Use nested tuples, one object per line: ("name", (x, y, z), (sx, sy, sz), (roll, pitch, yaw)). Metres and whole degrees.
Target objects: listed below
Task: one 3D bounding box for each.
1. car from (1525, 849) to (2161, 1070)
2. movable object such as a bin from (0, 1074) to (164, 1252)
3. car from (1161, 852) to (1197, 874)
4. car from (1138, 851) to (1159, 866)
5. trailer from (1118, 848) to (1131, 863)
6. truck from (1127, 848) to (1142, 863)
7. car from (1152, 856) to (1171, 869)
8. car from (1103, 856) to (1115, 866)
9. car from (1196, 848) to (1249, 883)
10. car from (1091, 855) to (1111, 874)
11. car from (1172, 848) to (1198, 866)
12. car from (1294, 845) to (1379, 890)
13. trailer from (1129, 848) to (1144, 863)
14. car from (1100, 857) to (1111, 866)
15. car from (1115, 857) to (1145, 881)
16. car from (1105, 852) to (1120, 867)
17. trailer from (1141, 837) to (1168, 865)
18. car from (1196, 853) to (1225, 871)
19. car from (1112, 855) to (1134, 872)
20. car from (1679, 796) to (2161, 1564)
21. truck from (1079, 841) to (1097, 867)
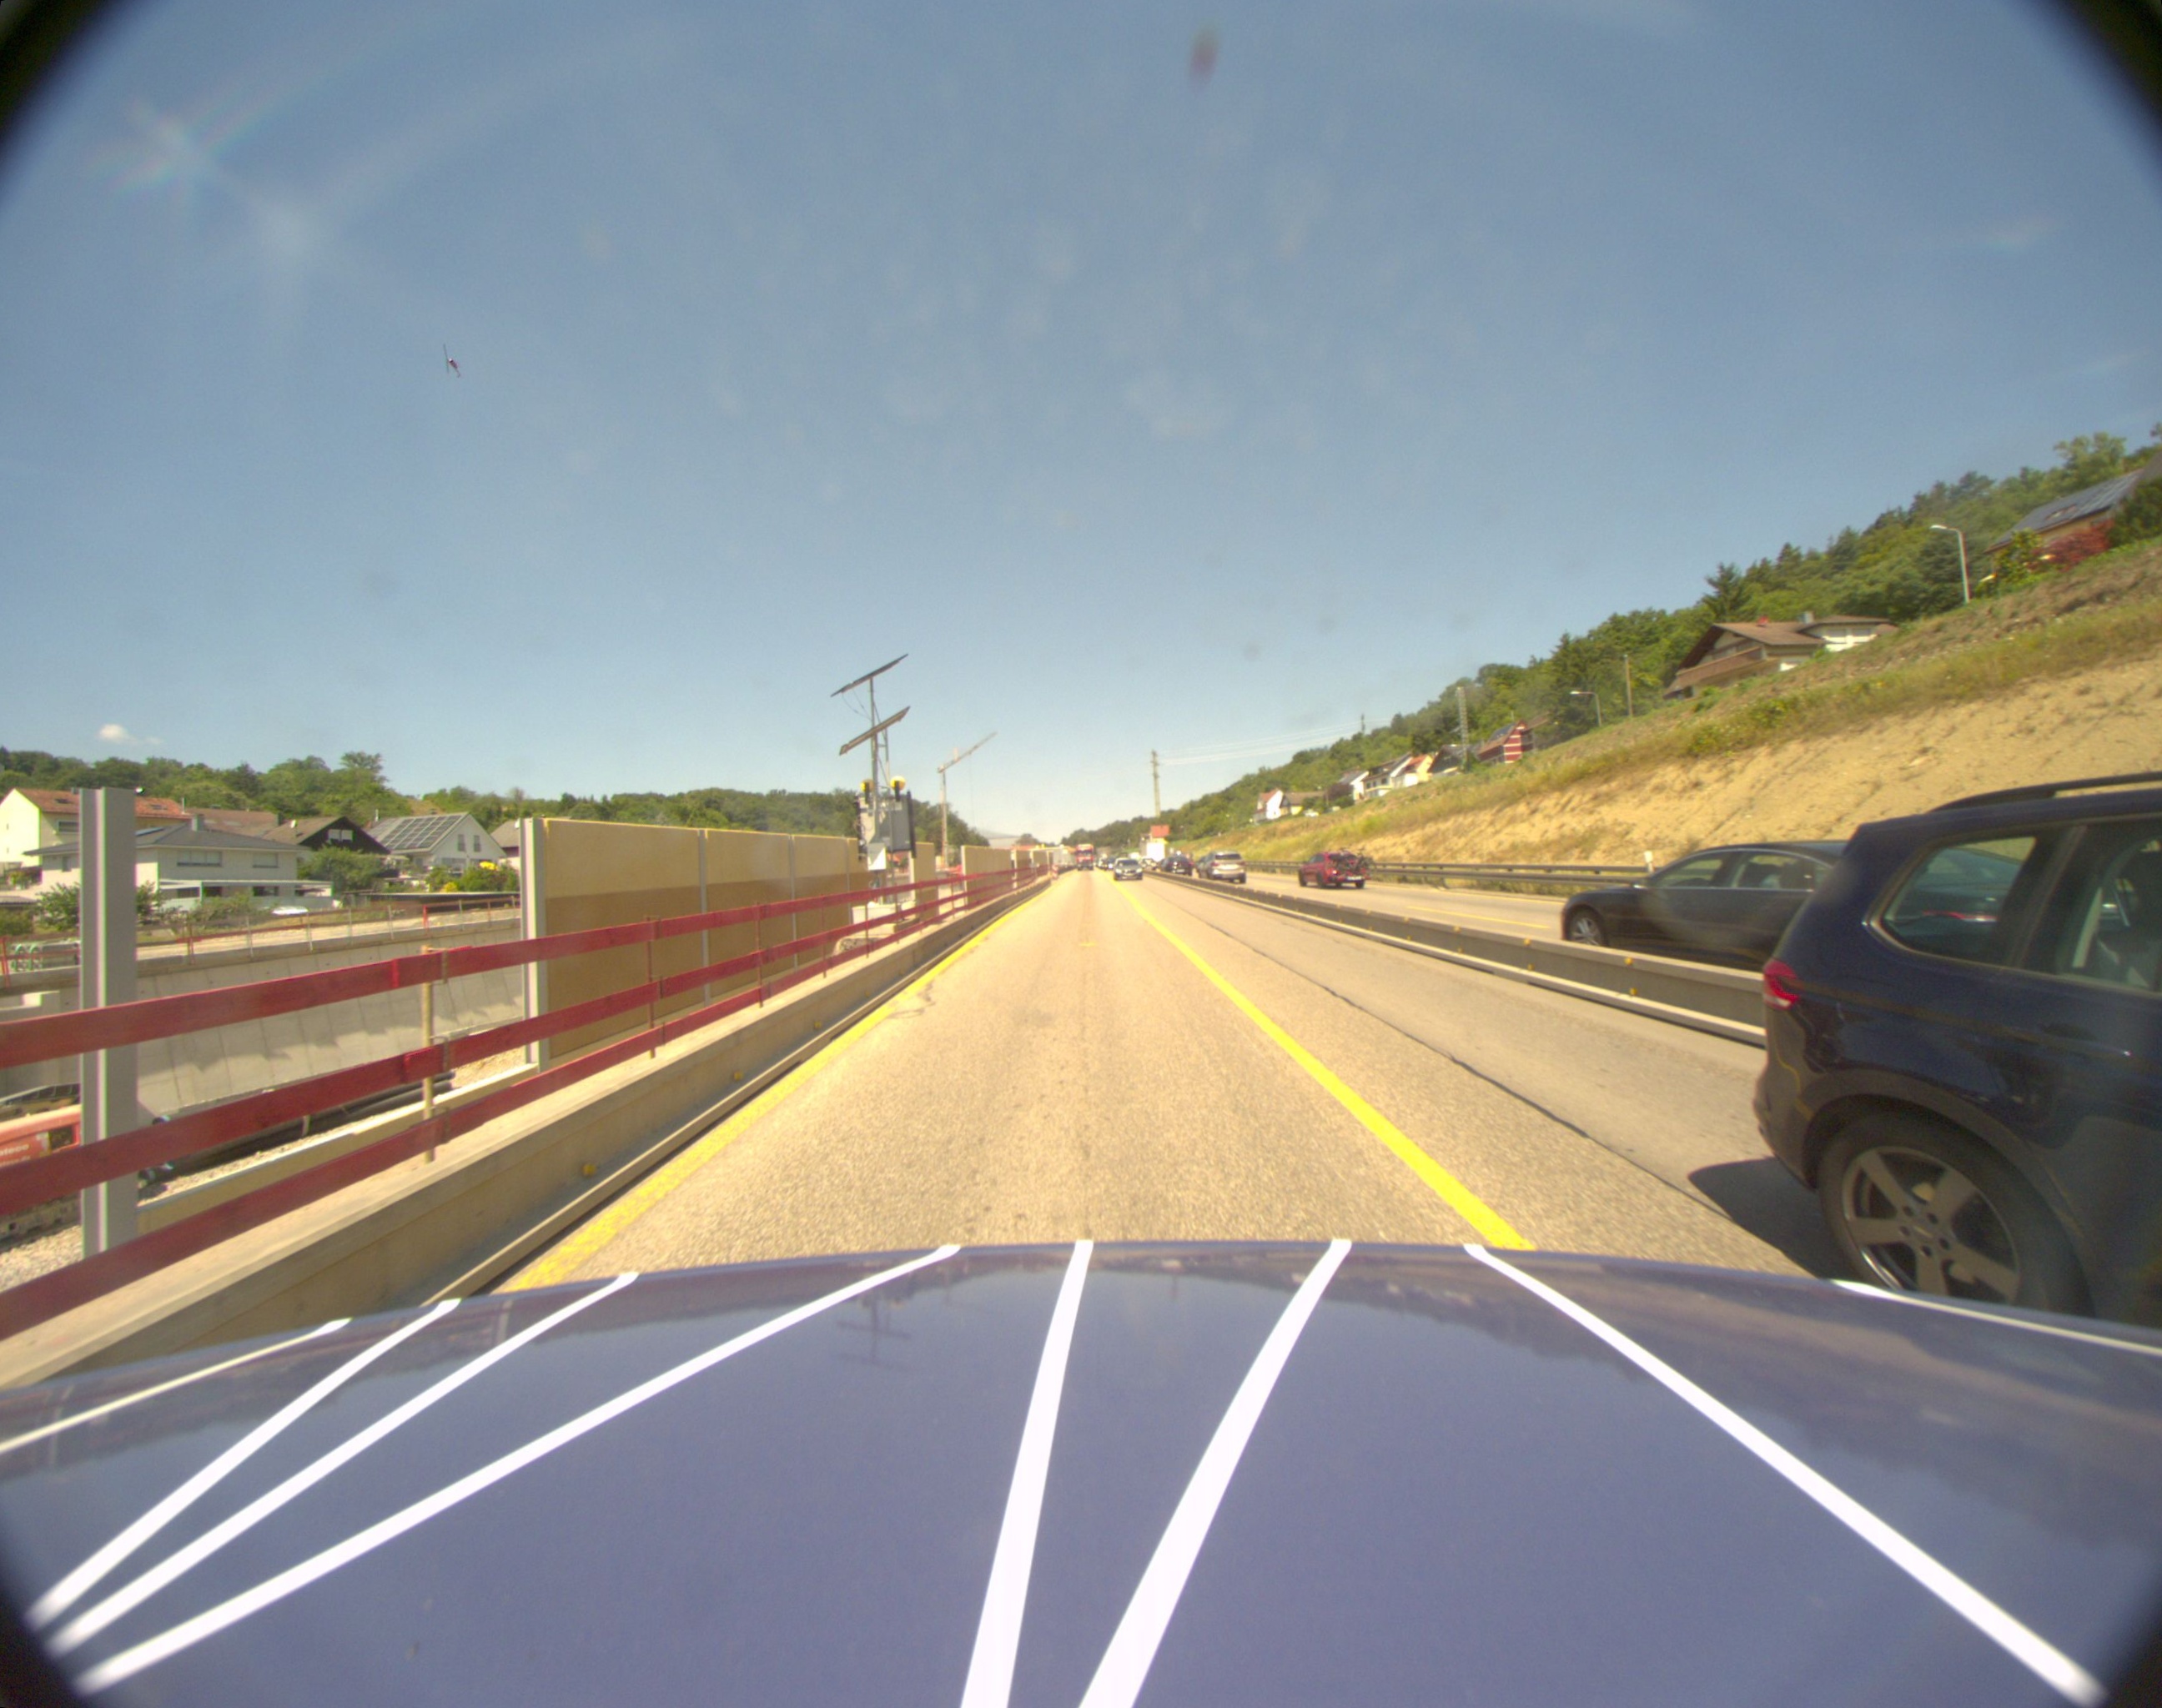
("car", (6.756, 0.703, 7.541), (1.801, 1.419, 4.949), (-2, 0, 0))
("movable object such as a bin", (-20.577, 5.911, 13.662), (2.615, 2.475, 4.454), (-3, 0, 0))
("car", (7.151, 0.641, 55.945), (1.960, 1.490, 5.090), (-2, 0, 1))
("car", (7.586, 0.505, 85.276), (1.844, 1.644, 5.371), (-1, 0, 0))
("trailer", (12.263, 0.382, 214.013), (2.920, 3.915, 10.527), (-2, 0, 1))
("truck", (11.765, 0.270, 167.755), (2.733, 3.124, 8.960), (-2, 0, 1))
("car", (10.616, 1.114, 100.665), (1.998, 1.498, 4.718), (-3, 0, 0))
("car", (4.337, 1.087, 117.267), (1.780, 1.485, 4.336), (-2, -1, 1))
("car", (7.238, 0.563, 39.346), (1.849, 1.655, 4.688), (-2, 0, 1))
("car", (1.859, 0.977, 72.140), (1.780, 1.682, 4.336), (-2, -1, 1))
("car", (11.323, 0.354, 82.974), (2.043, 1.915, 5.121), (-1, 0, 0))
("car", (10.198, 0.493, 30.758), (1.689, 1.576, 5.126), (-2, 0, 0))
("trailer", (11.687, 0.315, 160.013), (2.619, 2.983, 6.371), (-2, 0, 1))
("car", (4.262, 1.247, 133.202), (1.780, 1.485, 4.336), (-2, -1, 1))
("car", (3.229, 0.965, 50.522), (1.780, 1.447, 4.336), (-2, -1, 1))
("car", (4.069, 0.729, 97.367), (1.780, 1.727, 4.336), (-2, -1, 1))
("trailer", (11.640, -0.433, 121.852), (2.793, 4.157, 13.978), (-2, 0, 0))
("car", (10.875, 0.633, 64.195), (1.714, 1.410, 4.242), (-2, 0, 1))
("car", (3.760, 0.849, 68.856), (1.780, 1.447, 4.336), (-2, -1, 1))
("car", (3.245, 0.676, 0.655), (1.780, 1.708, 4.653), (-2, -1, 1))
("truck", (1.172, 0.093, 118.105), (2.605, 3.703, 10.537), (-2, -1, 1))
